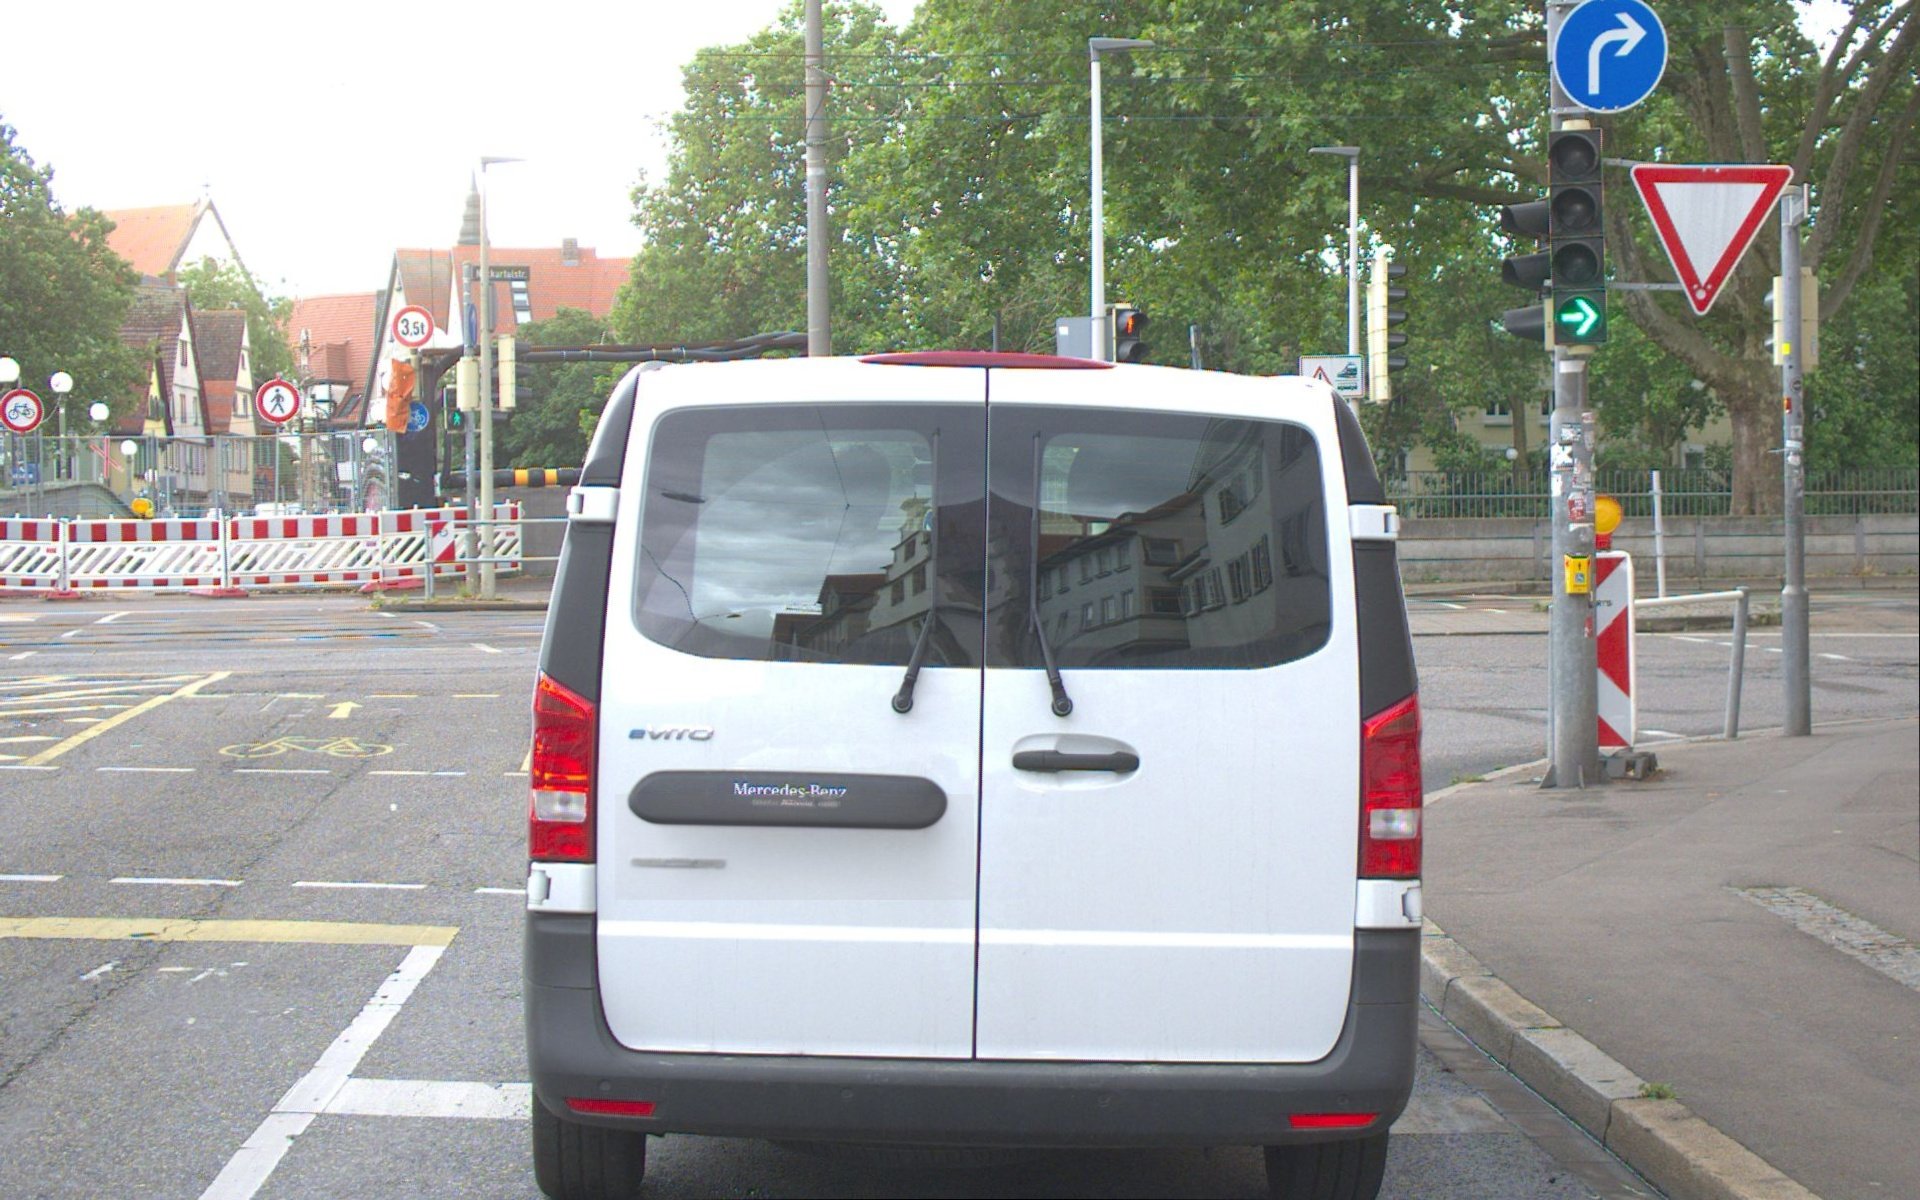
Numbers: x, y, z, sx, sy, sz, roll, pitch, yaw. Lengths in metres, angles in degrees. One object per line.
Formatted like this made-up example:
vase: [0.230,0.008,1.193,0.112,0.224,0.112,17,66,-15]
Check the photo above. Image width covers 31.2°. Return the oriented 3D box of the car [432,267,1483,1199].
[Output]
car: [-0.036,0.298,8.814,1.951,2.006,4.699,1,2,-1]
